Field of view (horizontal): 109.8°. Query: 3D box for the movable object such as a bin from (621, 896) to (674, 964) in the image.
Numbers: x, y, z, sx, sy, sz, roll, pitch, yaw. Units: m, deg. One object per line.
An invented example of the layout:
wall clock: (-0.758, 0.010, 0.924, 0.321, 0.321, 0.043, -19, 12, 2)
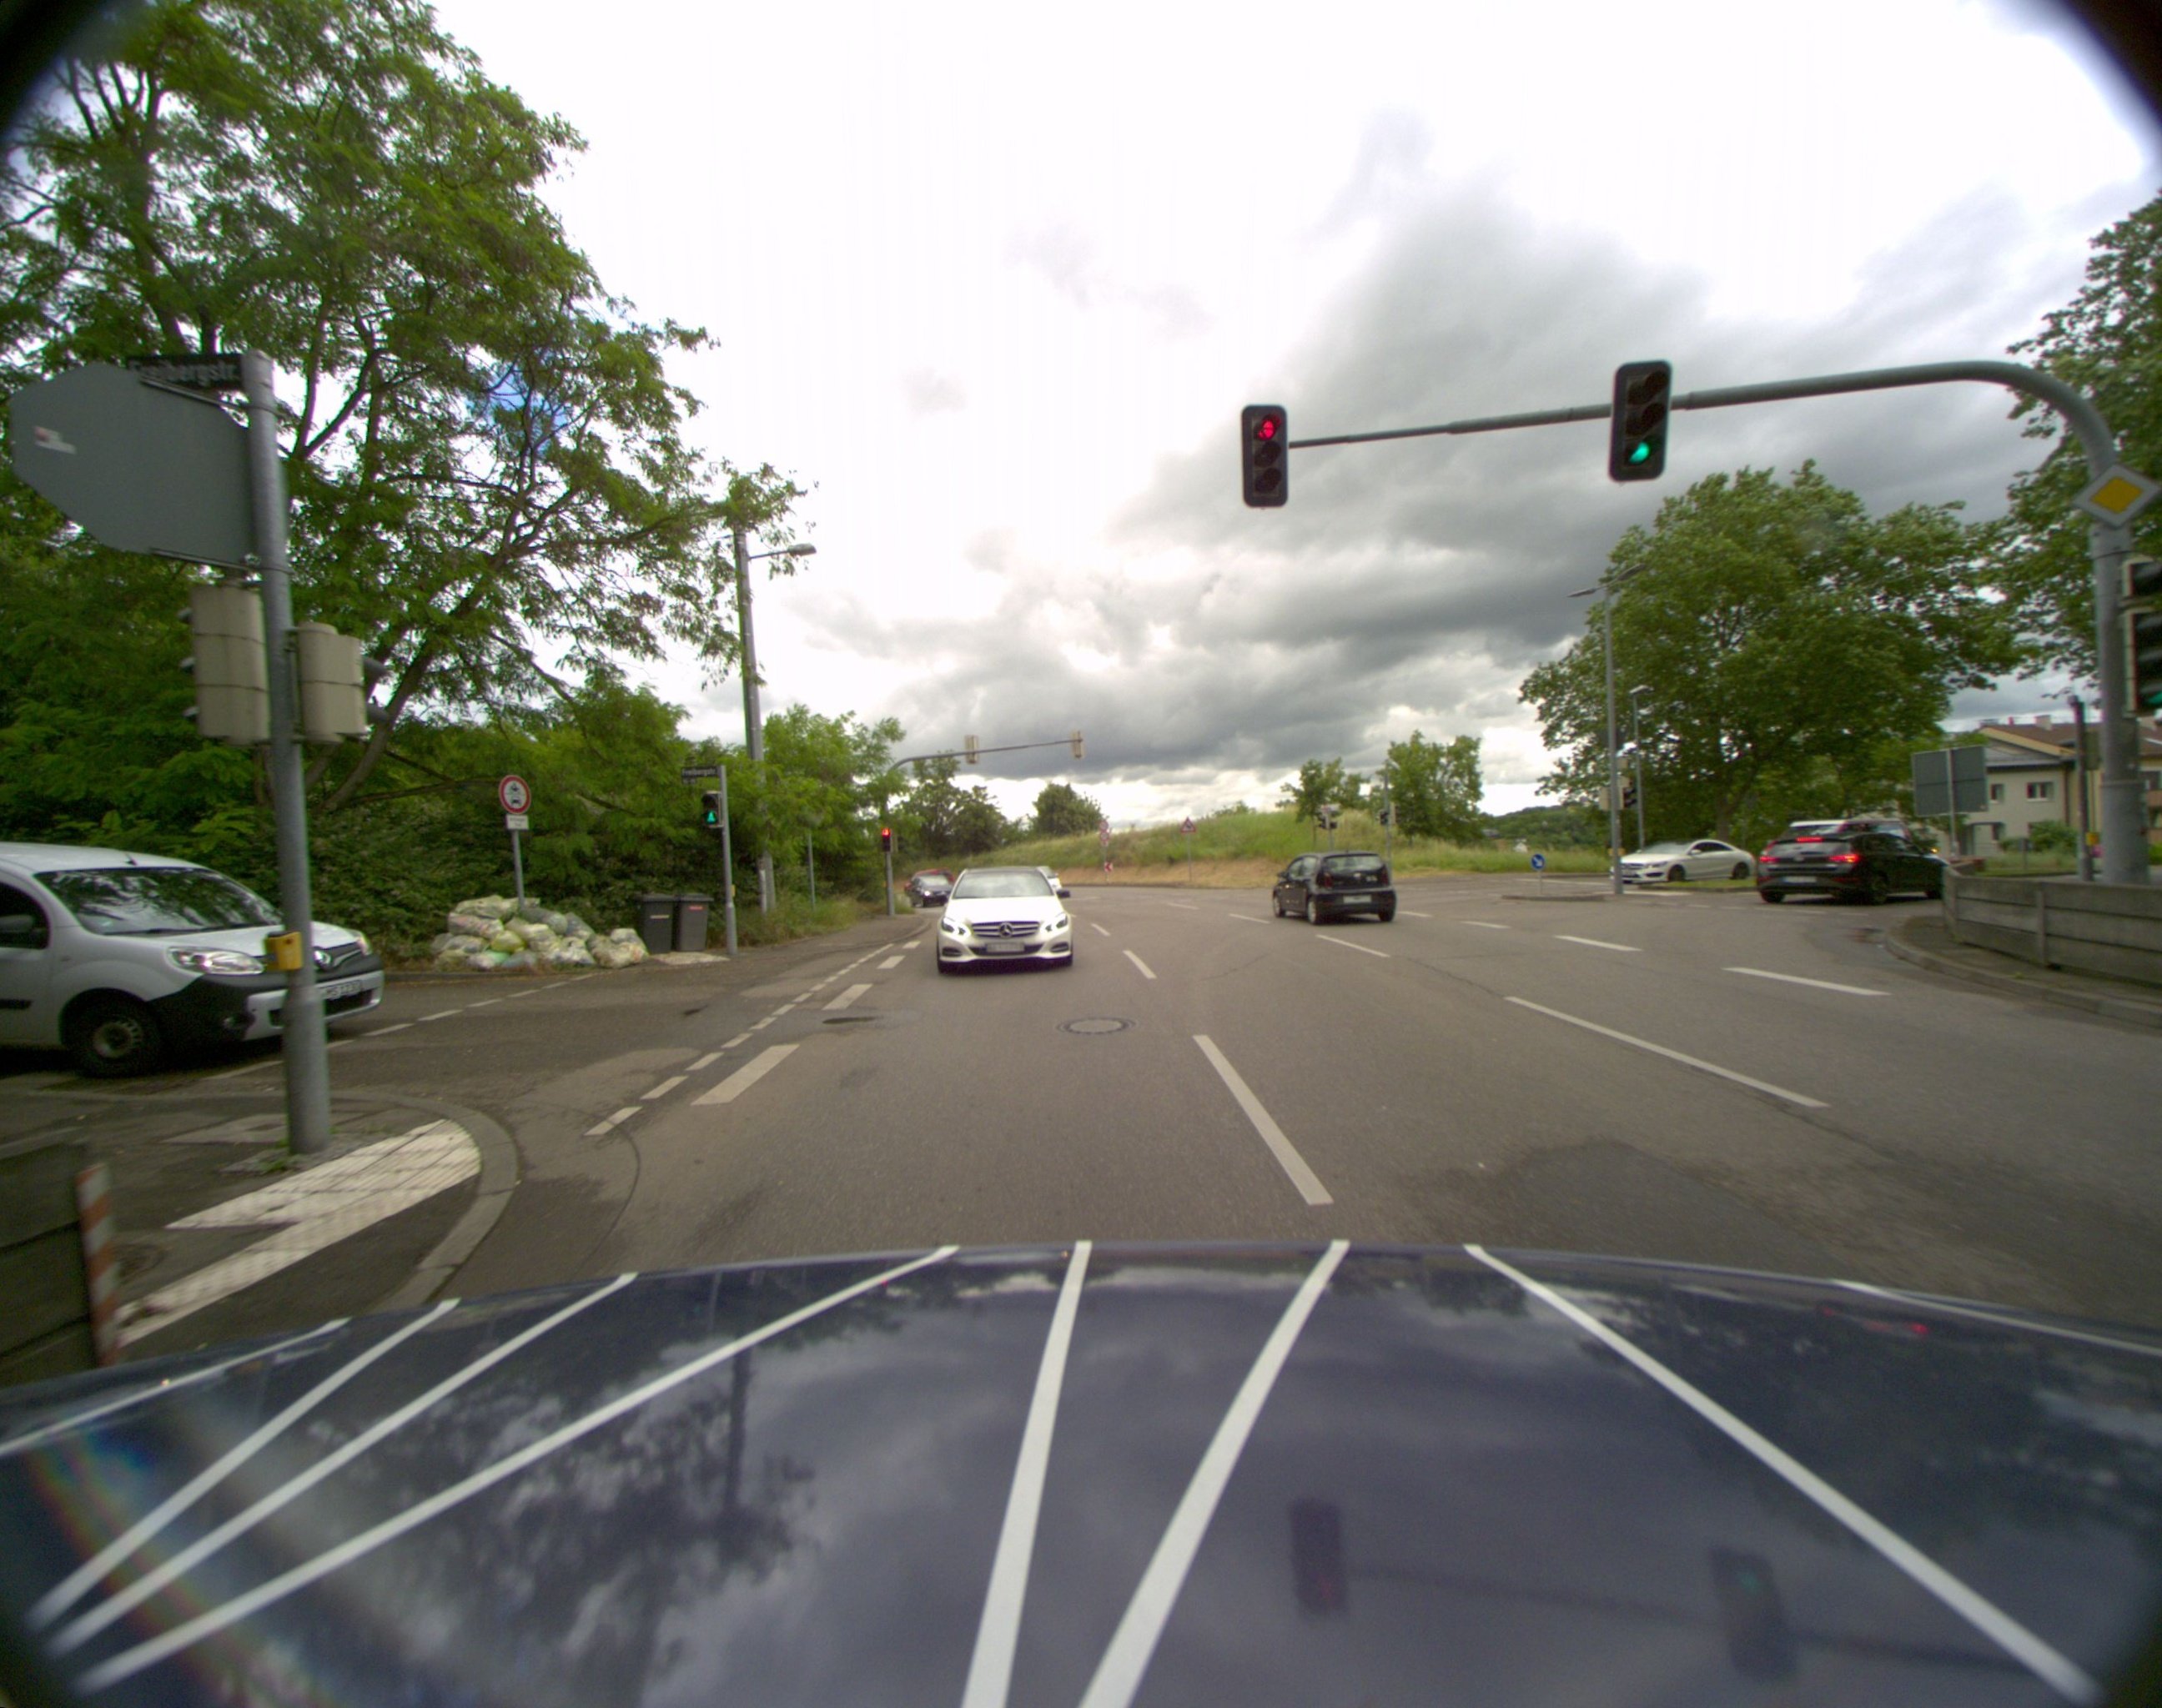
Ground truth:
movable object such as a bin: (-7.584, 1.314, 13.294, 0.643, 1.109, 0.576, -3, 0, 43)

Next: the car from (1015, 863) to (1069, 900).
car: (-1.855, 1.250, 35.367, 1.582, 1.548, 3.012, -3, 0, -20)

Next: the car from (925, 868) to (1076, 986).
car: (-1.093, 0.977, 11.814, 1.887, 1.414, 4.000, -2, -1, -2)

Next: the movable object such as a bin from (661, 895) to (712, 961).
movable object such as a bin: (-7.158, 1.329, 13.785, 0.643, 1.109, 0.576, -3, 0, 43)

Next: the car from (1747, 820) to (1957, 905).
car: (16.308, 0.154, 16.059, 4.141, 1.468, 1.819, -3, 0, -26)

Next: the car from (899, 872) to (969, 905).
car: (-7.294, 1.718, 37.576, 1.827, 1.535, 3.717, -1, -2, -39)

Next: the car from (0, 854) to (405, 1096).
car: (-8.959, 0.910, 6.530, 4.493, 1.774, 1.826, 0, 1, -4)

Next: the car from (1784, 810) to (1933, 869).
car: (26.958, -0.501, 26.389, 4.041, 1.803, 1.853, -3, 0, -16)

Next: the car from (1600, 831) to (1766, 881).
car: (19.428, 0.039, 24.581, 4.422, 1.331, 1.997, -3, 2, -16)

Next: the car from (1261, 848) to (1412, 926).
car: (5.339, 0.624, 16.451, 1.728, 1.401, 3.999, -3, 0, -2)

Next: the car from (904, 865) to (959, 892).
car: (-11.148, 1.807, 56.480, 1.697, 1.815, 4.713, -3, 1, -43)
